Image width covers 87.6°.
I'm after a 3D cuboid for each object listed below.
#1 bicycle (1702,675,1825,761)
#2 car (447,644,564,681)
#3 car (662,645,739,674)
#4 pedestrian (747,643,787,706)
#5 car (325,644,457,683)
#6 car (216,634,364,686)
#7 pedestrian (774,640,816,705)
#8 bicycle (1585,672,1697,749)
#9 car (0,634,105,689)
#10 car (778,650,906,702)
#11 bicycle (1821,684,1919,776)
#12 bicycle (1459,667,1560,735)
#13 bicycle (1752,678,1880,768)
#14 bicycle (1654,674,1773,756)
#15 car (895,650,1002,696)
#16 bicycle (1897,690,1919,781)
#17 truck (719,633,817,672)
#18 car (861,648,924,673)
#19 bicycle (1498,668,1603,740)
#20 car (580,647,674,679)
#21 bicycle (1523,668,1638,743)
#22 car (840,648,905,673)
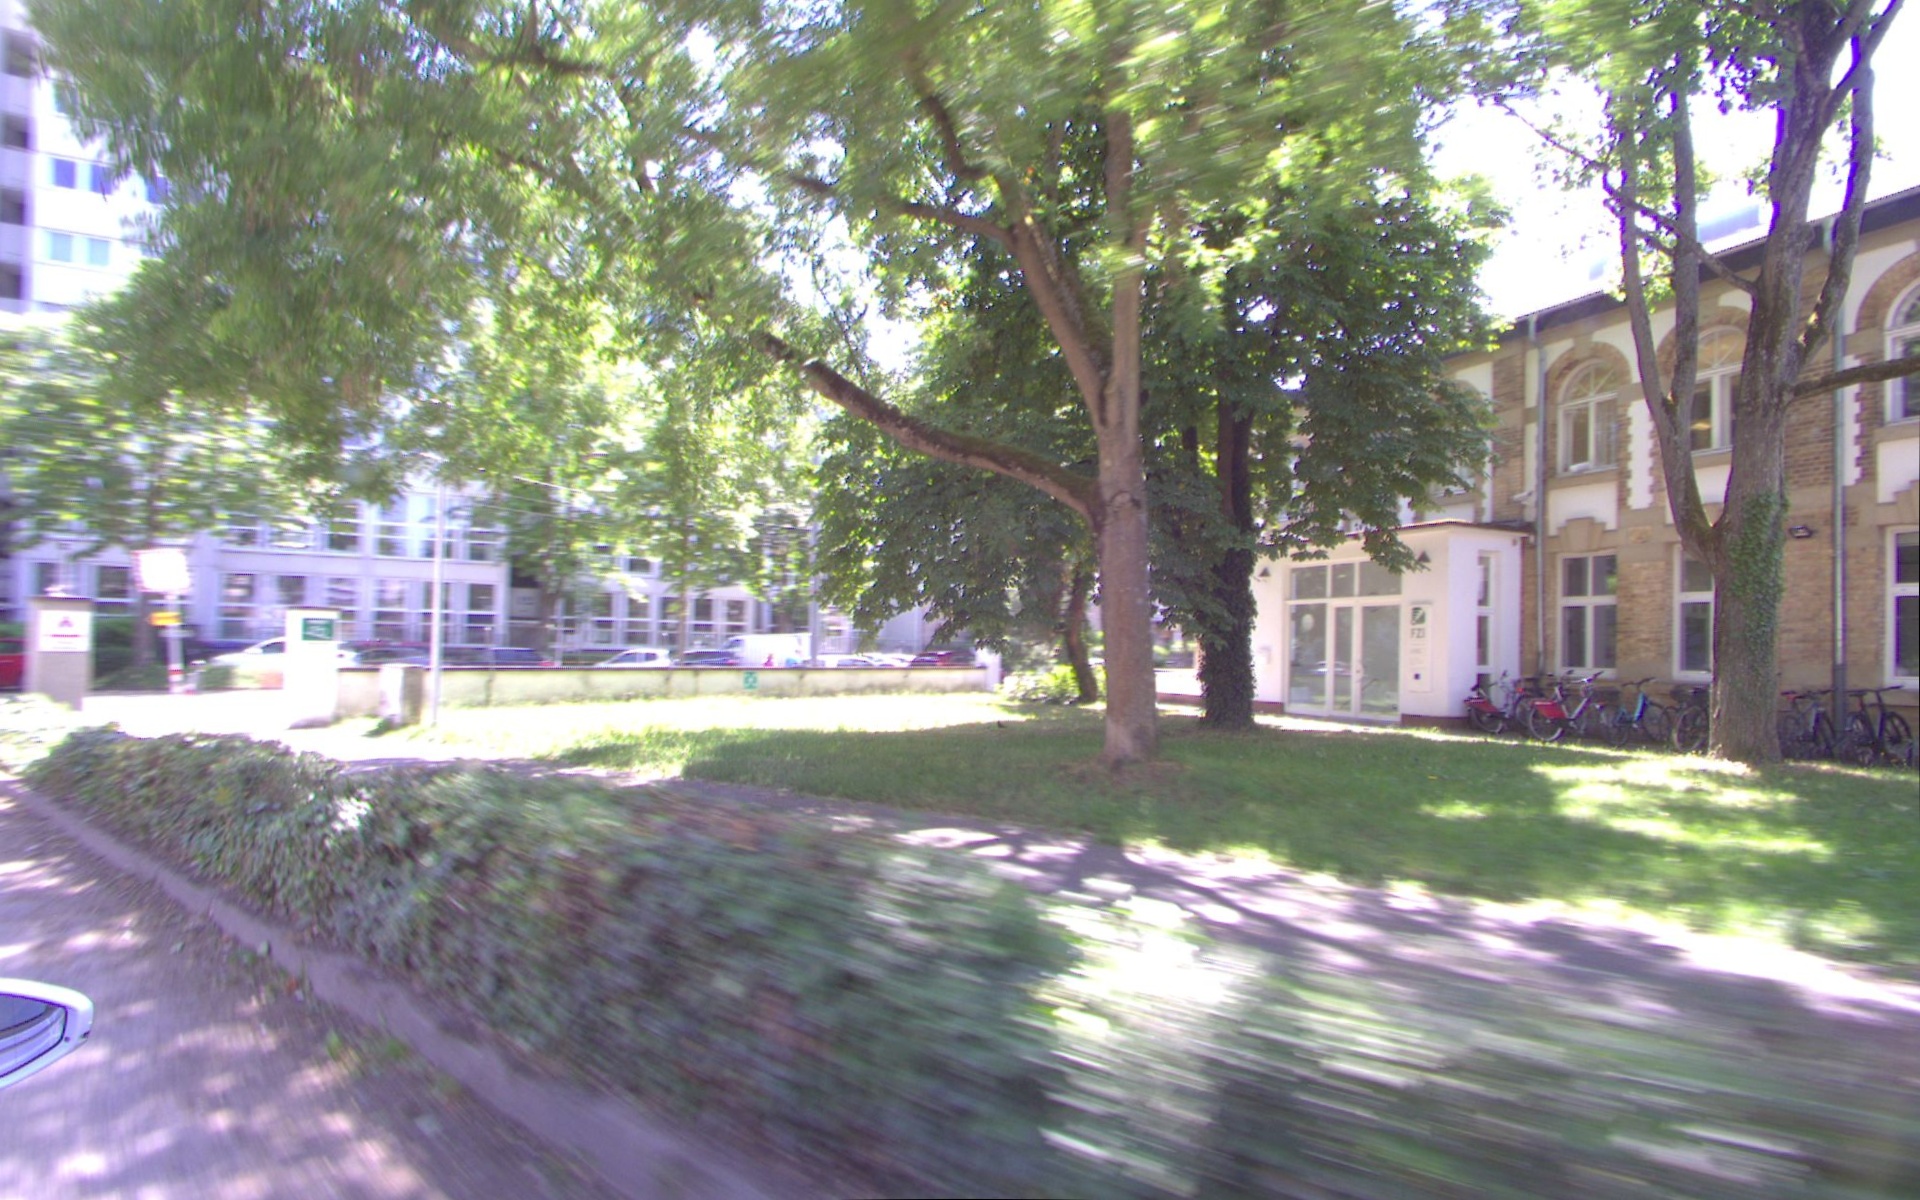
[{"bbox_3d":[11.504,1.674,14.336,1.812,1.157,0.588,2,-2,-23],"label":"bicycle"},{"bbox_3d":[-17.259,2.362,38.136,3.672,1.321,1.613,1,-2,-3],"label":"car"},{"bbox_3d":[-11.873,2.727,45.972,3.302,1.307,1.534,1,-2,-10],"label":"car"},{"bbox_3d":[-5.049,1.948,26.137,0.732,1.609,0.727,-3,-4,41],"label":"pedestrian"},{"bbox_3d":[-20.052,2.237,35.381,3.672,1.297,1.613,1,-2,-4],"label":"car"},{"bbox_3d":[-21.936,1.962,32.917,3.674,1.640,1.612,1,-2,-10],"label":"car"},{"bbox_3d":[-4.182,1.839,25.377,0.732,1.609,0.728,-3,-4,38],"label":"pedestrian"},{"bbox_3d":[10.810,1.740,15.886,1.812,1.157,0.588,2,-2,-23],"label":"bicycle"},{"bbox_3d":[-26.252,1.687,27.801,3.533,1.455,1.613,1,-2,-4],"label":"car"},{"bbox_3d":[-3.609,2.323,31.159,1.685,1.482,3.912,-1,-3,38],"label":"car"},{"bbox_3d":[12.026,1.663,13.019,1.812,1.114,0.521,2,-2,-23],"label":"bicycle"},{"bbox_3d":[9.767,1.787,17.787,1.812,1.157,0.588,2,-2,-23],"label":"bicycle"},{"bbox_3d":[11.761,1.665,13.754,1.812,1.157,0.588,2,-2,-23],"label":"bicycle"},{"bbox_3d":[11.233,1.692,14.923,1.812,1.157,0.588,2,-2,-23],"label":"bicycle"},{"bbox_3d":[-0.357,2.514,35.074,1.685,1.482,3.912,-1,-3,38],"label":"car"},{"bbox_3d":[12.356,1.662,12.322,1.806,1.083,0.521,2,-2,-23],"label":"bicycle"},{"bbox_3d":[-9.258,2.548,48.478,4.557,1.856,1.656,1,-2,-10],"label":"truck"},{"bbox_3d":[-3.777,3.392,56.310,3.276,1.307,1.499,1,-2,5],"label":"car"},{"bbox_3d":[10.098,1.763,17.118,1.812,1.157,0.588,2,-2,-23],"label":"bicycle"},{"bbox_3d":[-14.353,2.723,43.361,3.676,1.307,1.611,1,-2,-12],"label":"car"},{"bbox_3d":[10.154,1.713,16.378,1.810,1.157,0.588,2,-2,-19],"label":"bicycle"},{"bbox_3d":[-4.645,3.232,53.540,3.275,1.307,1.499,1,-2,1],"label":"car"}]
